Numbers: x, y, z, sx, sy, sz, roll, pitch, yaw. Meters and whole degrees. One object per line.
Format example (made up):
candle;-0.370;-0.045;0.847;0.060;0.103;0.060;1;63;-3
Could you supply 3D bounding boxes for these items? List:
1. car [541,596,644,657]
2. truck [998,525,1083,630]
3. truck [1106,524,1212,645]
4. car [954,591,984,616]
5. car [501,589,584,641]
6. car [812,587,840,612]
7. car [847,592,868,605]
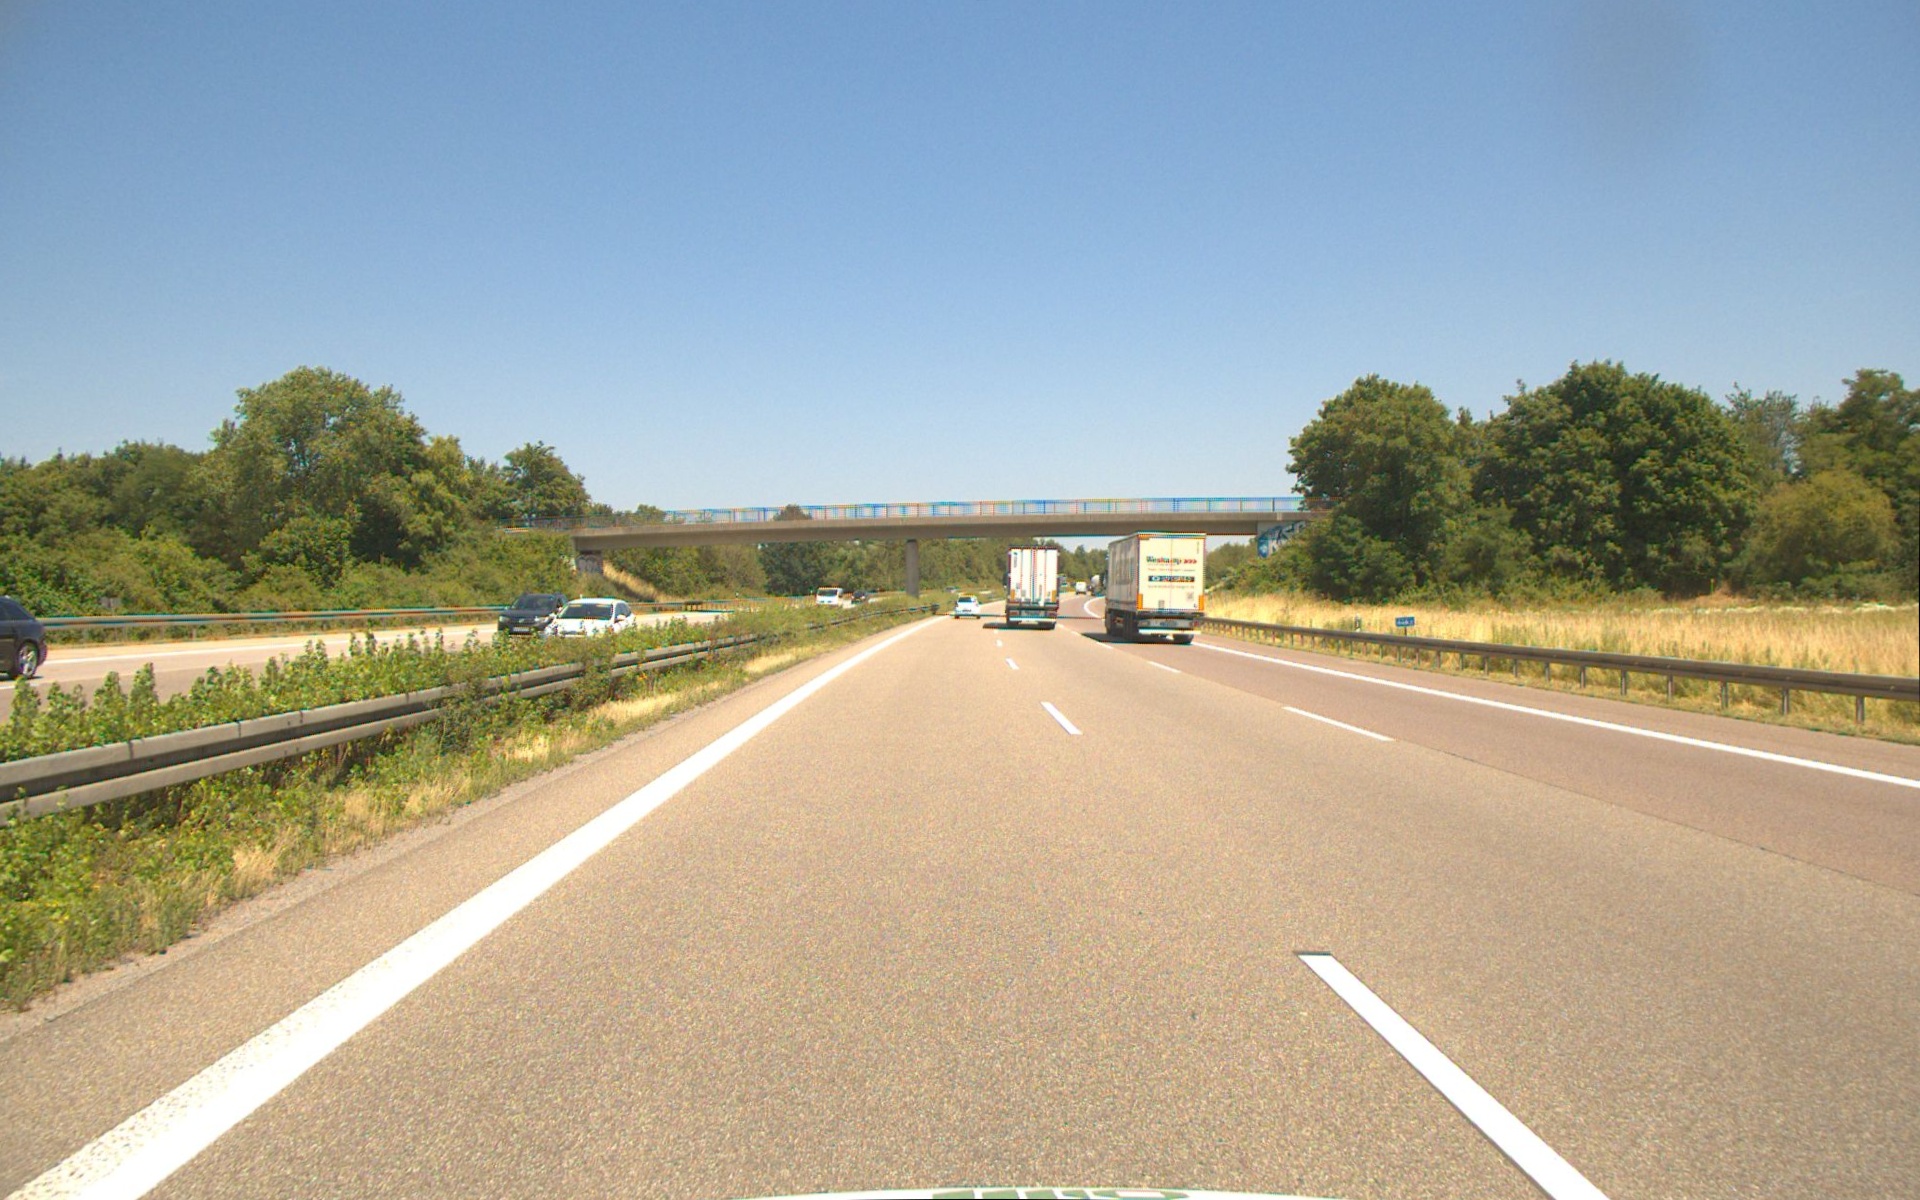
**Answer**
car;-9.513;0.671;43.153;1.649;1.516;4.728;0;0;0
truck;4.108;-1.205;88.563;3.591;5.106;16.016;1;1;0
truck;7.949;-0.653;68.232;3.115;4.379;16.024;1;1;3
car;0.626;0.218;111.312;1.789;1.574;4.321;1;0;4
car;-13.326;0.476;53.032;1.611;1.588;4.066;0;-1;0
car;-11.306;-0.071;139.957;1.790;2.049;5.331;1;0;1
car;-11.767;-0.161;190.526;1.789;1.487;4.321;1;0;4
